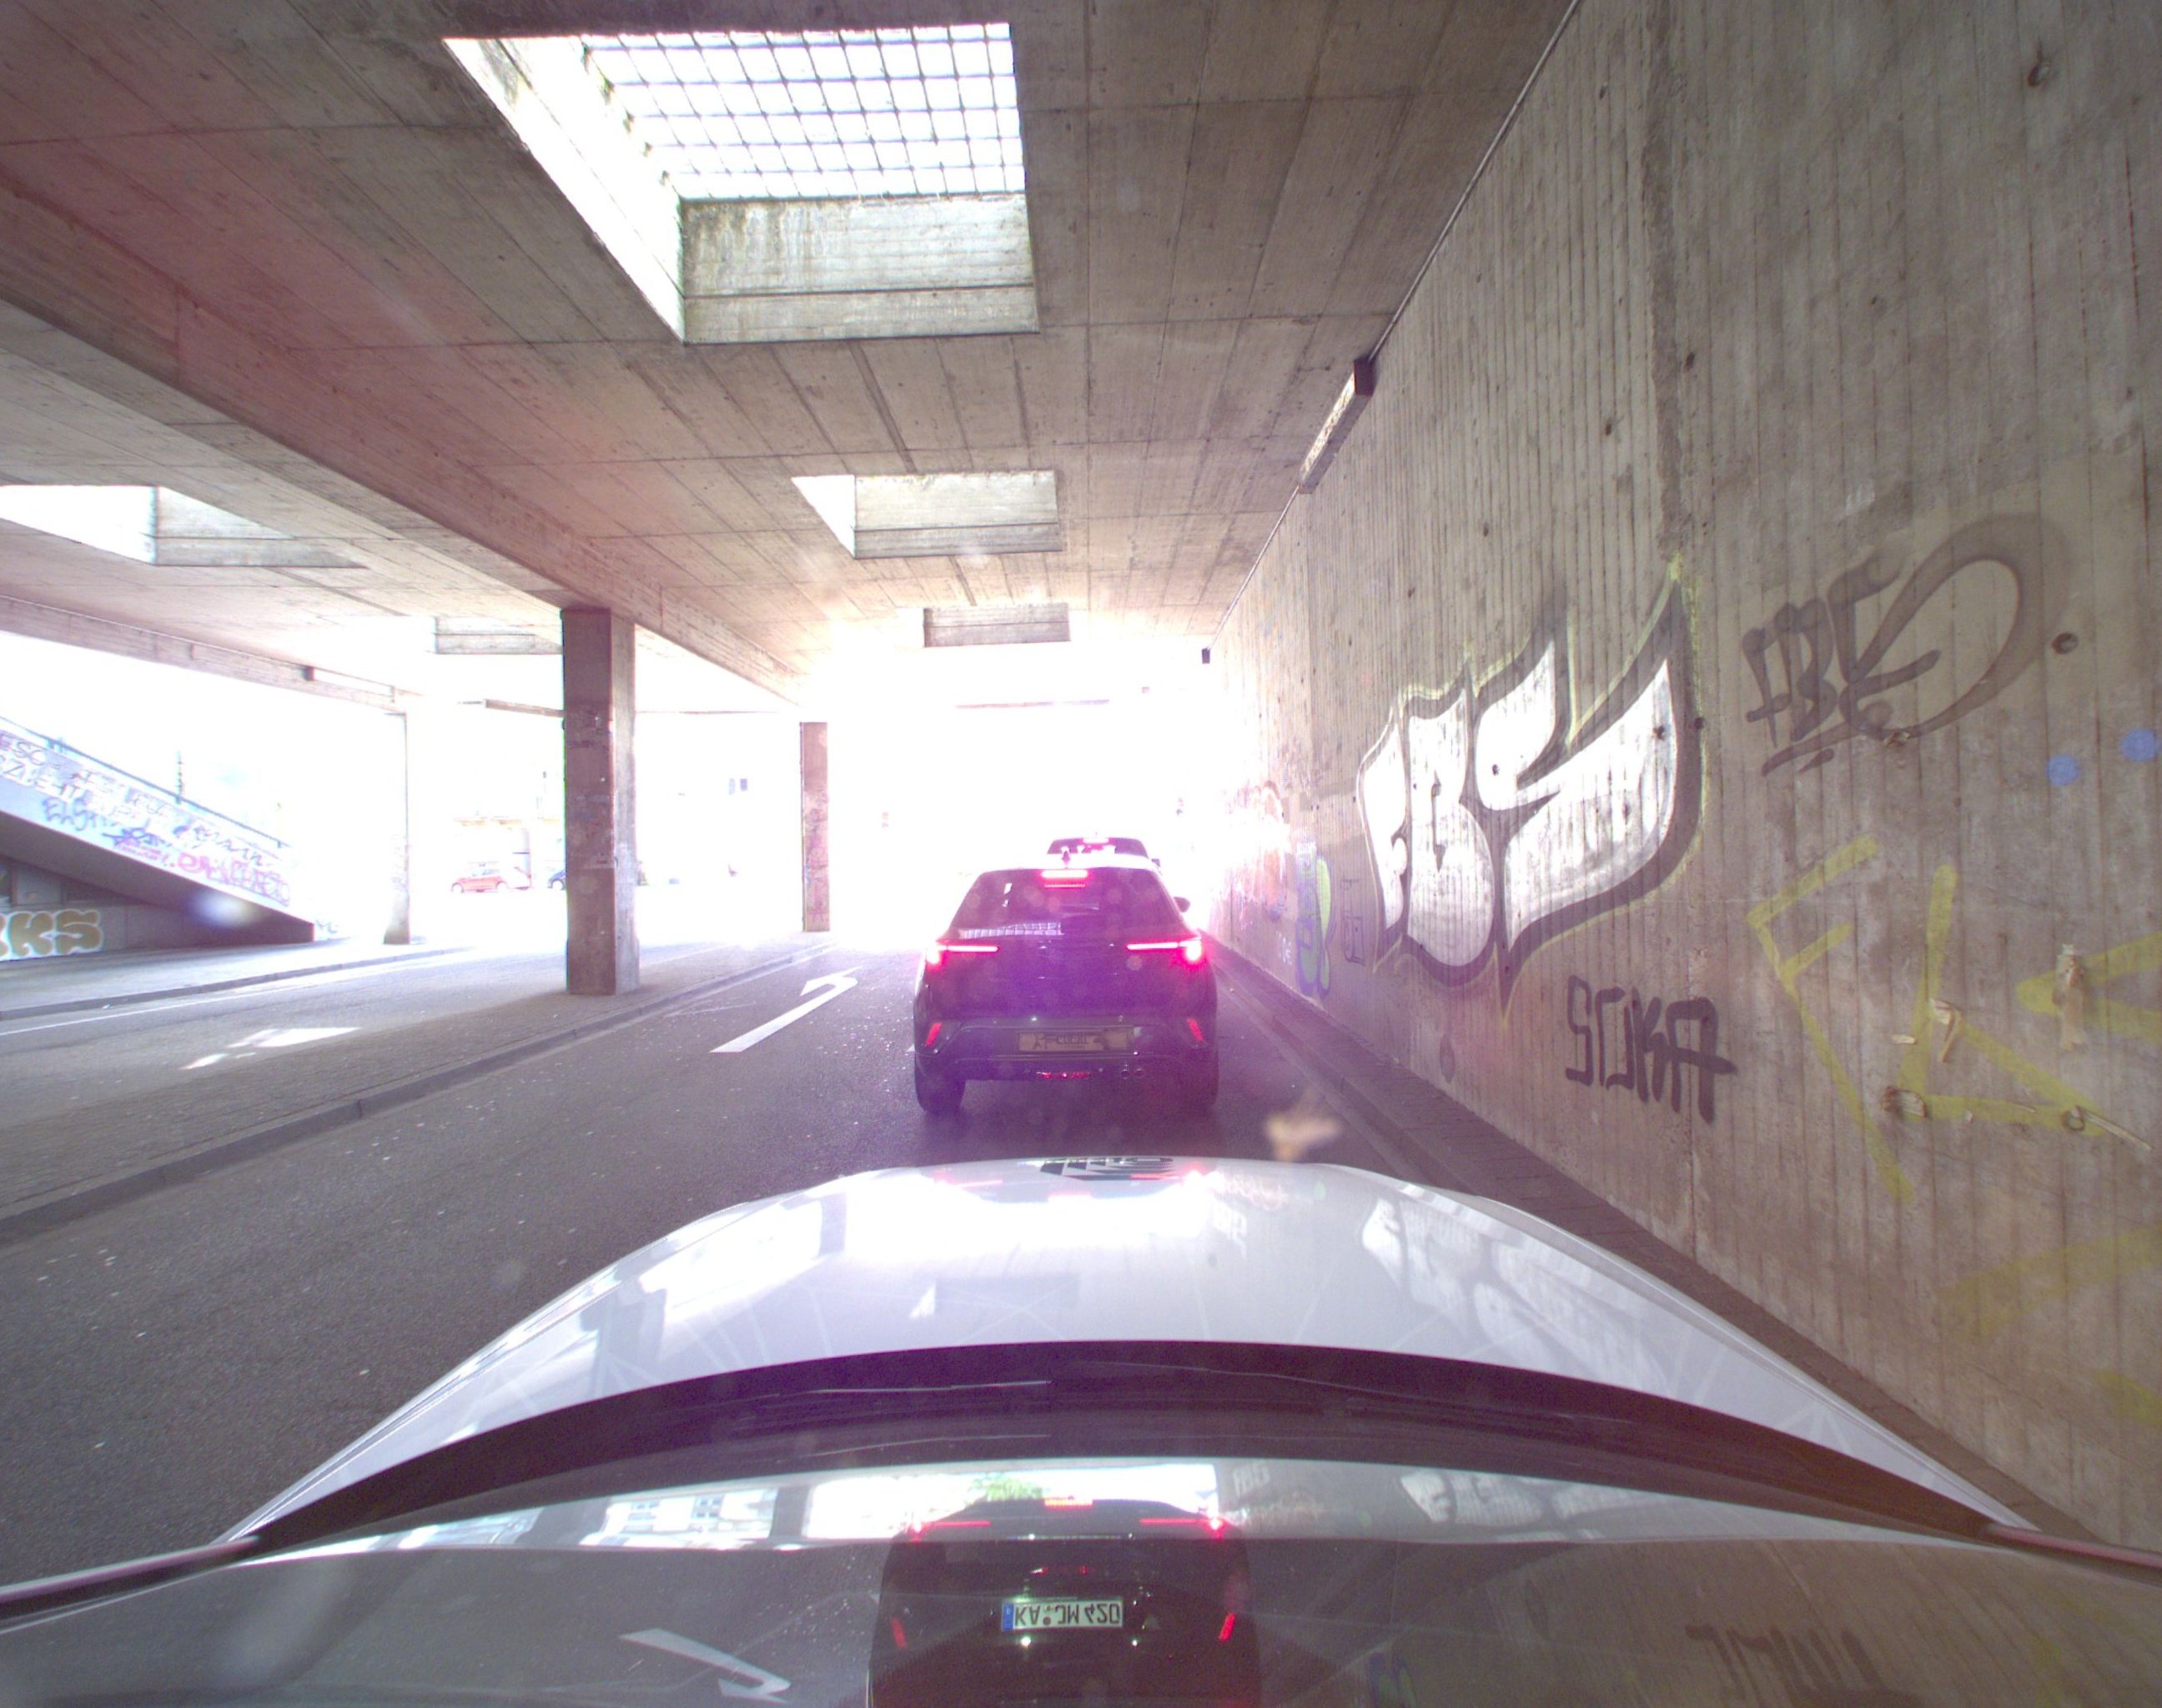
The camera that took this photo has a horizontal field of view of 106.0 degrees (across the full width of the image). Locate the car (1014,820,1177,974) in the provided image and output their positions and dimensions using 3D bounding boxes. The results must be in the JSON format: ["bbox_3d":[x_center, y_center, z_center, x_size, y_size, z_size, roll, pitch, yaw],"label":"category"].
[{"bbox_3d":[0.243,0.540,12.203,1.986,1.871,4.002,-2,0,2],"label":"car"}]

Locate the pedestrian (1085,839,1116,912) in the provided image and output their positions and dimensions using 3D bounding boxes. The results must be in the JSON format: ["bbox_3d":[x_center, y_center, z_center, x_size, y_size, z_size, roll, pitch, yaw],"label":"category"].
[{"bbox_3d":[0.469,0.514,19.896,0.728,1.734,0.874,0,-1,1],"label":"pedestrian"}]

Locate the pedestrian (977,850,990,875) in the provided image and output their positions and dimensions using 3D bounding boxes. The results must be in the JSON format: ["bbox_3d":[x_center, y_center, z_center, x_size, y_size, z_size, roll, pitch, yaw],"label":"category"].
[{"bbox_3d":[-8.393,0.728,70.326,0.887,2.088,0.810,-1,-1,9],"label":"pedestrian"}]

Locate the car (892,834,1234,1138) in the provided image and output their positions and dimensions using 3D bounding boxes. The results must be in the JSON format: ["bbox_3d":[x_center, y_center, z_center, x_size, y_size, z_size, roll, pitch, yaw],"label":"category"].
[{"bbox_3d":[-0.031,0.650,6.217,1.758,1.571,4.002,0,1,2],"label":"car"}]

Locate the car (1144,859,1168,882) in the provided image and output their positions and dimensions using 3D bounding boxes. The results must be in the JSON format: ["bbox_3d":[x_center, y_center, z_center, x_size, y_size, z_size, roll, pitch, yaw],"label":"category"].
[{"bbox_3d":[6.794,1.437,73.229,1.983,1.970,4.172,0,-1,7],"label":"car"}]

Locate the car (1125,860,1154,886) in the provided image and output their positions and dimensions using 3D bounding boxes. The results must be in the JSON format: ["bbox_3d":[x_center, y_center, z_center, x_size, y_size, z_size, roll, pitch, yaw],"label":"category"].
[{"bbox_3d":[4.559,1.443,62.773,1.983,1.970,4.172,0,-1,7],"label":"car"}]

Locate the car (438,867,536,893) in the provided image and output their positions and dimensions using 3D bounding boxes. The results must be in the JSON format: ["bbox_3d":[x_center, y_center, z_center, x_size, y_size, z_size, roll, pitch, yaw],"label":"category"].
[{"bbox_3d":[-33.001,1.424,45.305,3.975,1.409,1.925,0,-1,-1],"label":"car"}]

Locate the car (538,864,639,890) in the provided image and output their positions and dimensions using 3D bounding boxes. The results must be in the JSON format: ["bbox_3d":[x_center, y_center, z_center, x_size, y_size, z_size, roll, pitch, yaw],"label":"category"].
[{"bbox_3d":[-27.296,1.262,45.270,4.393,1.409,1.925,0,-1,-1],"label":"car"}]

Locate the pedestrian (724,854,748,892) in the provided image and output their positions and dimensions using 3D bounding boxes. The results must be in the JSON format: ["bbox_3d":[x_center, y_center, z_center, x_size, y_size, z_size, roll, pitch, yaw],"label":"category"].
[{"bbox_3d":[-14.875,0.804,35.110,0.669,1.637,0.741,0,-1,1],"label":"pedestrian"}]
